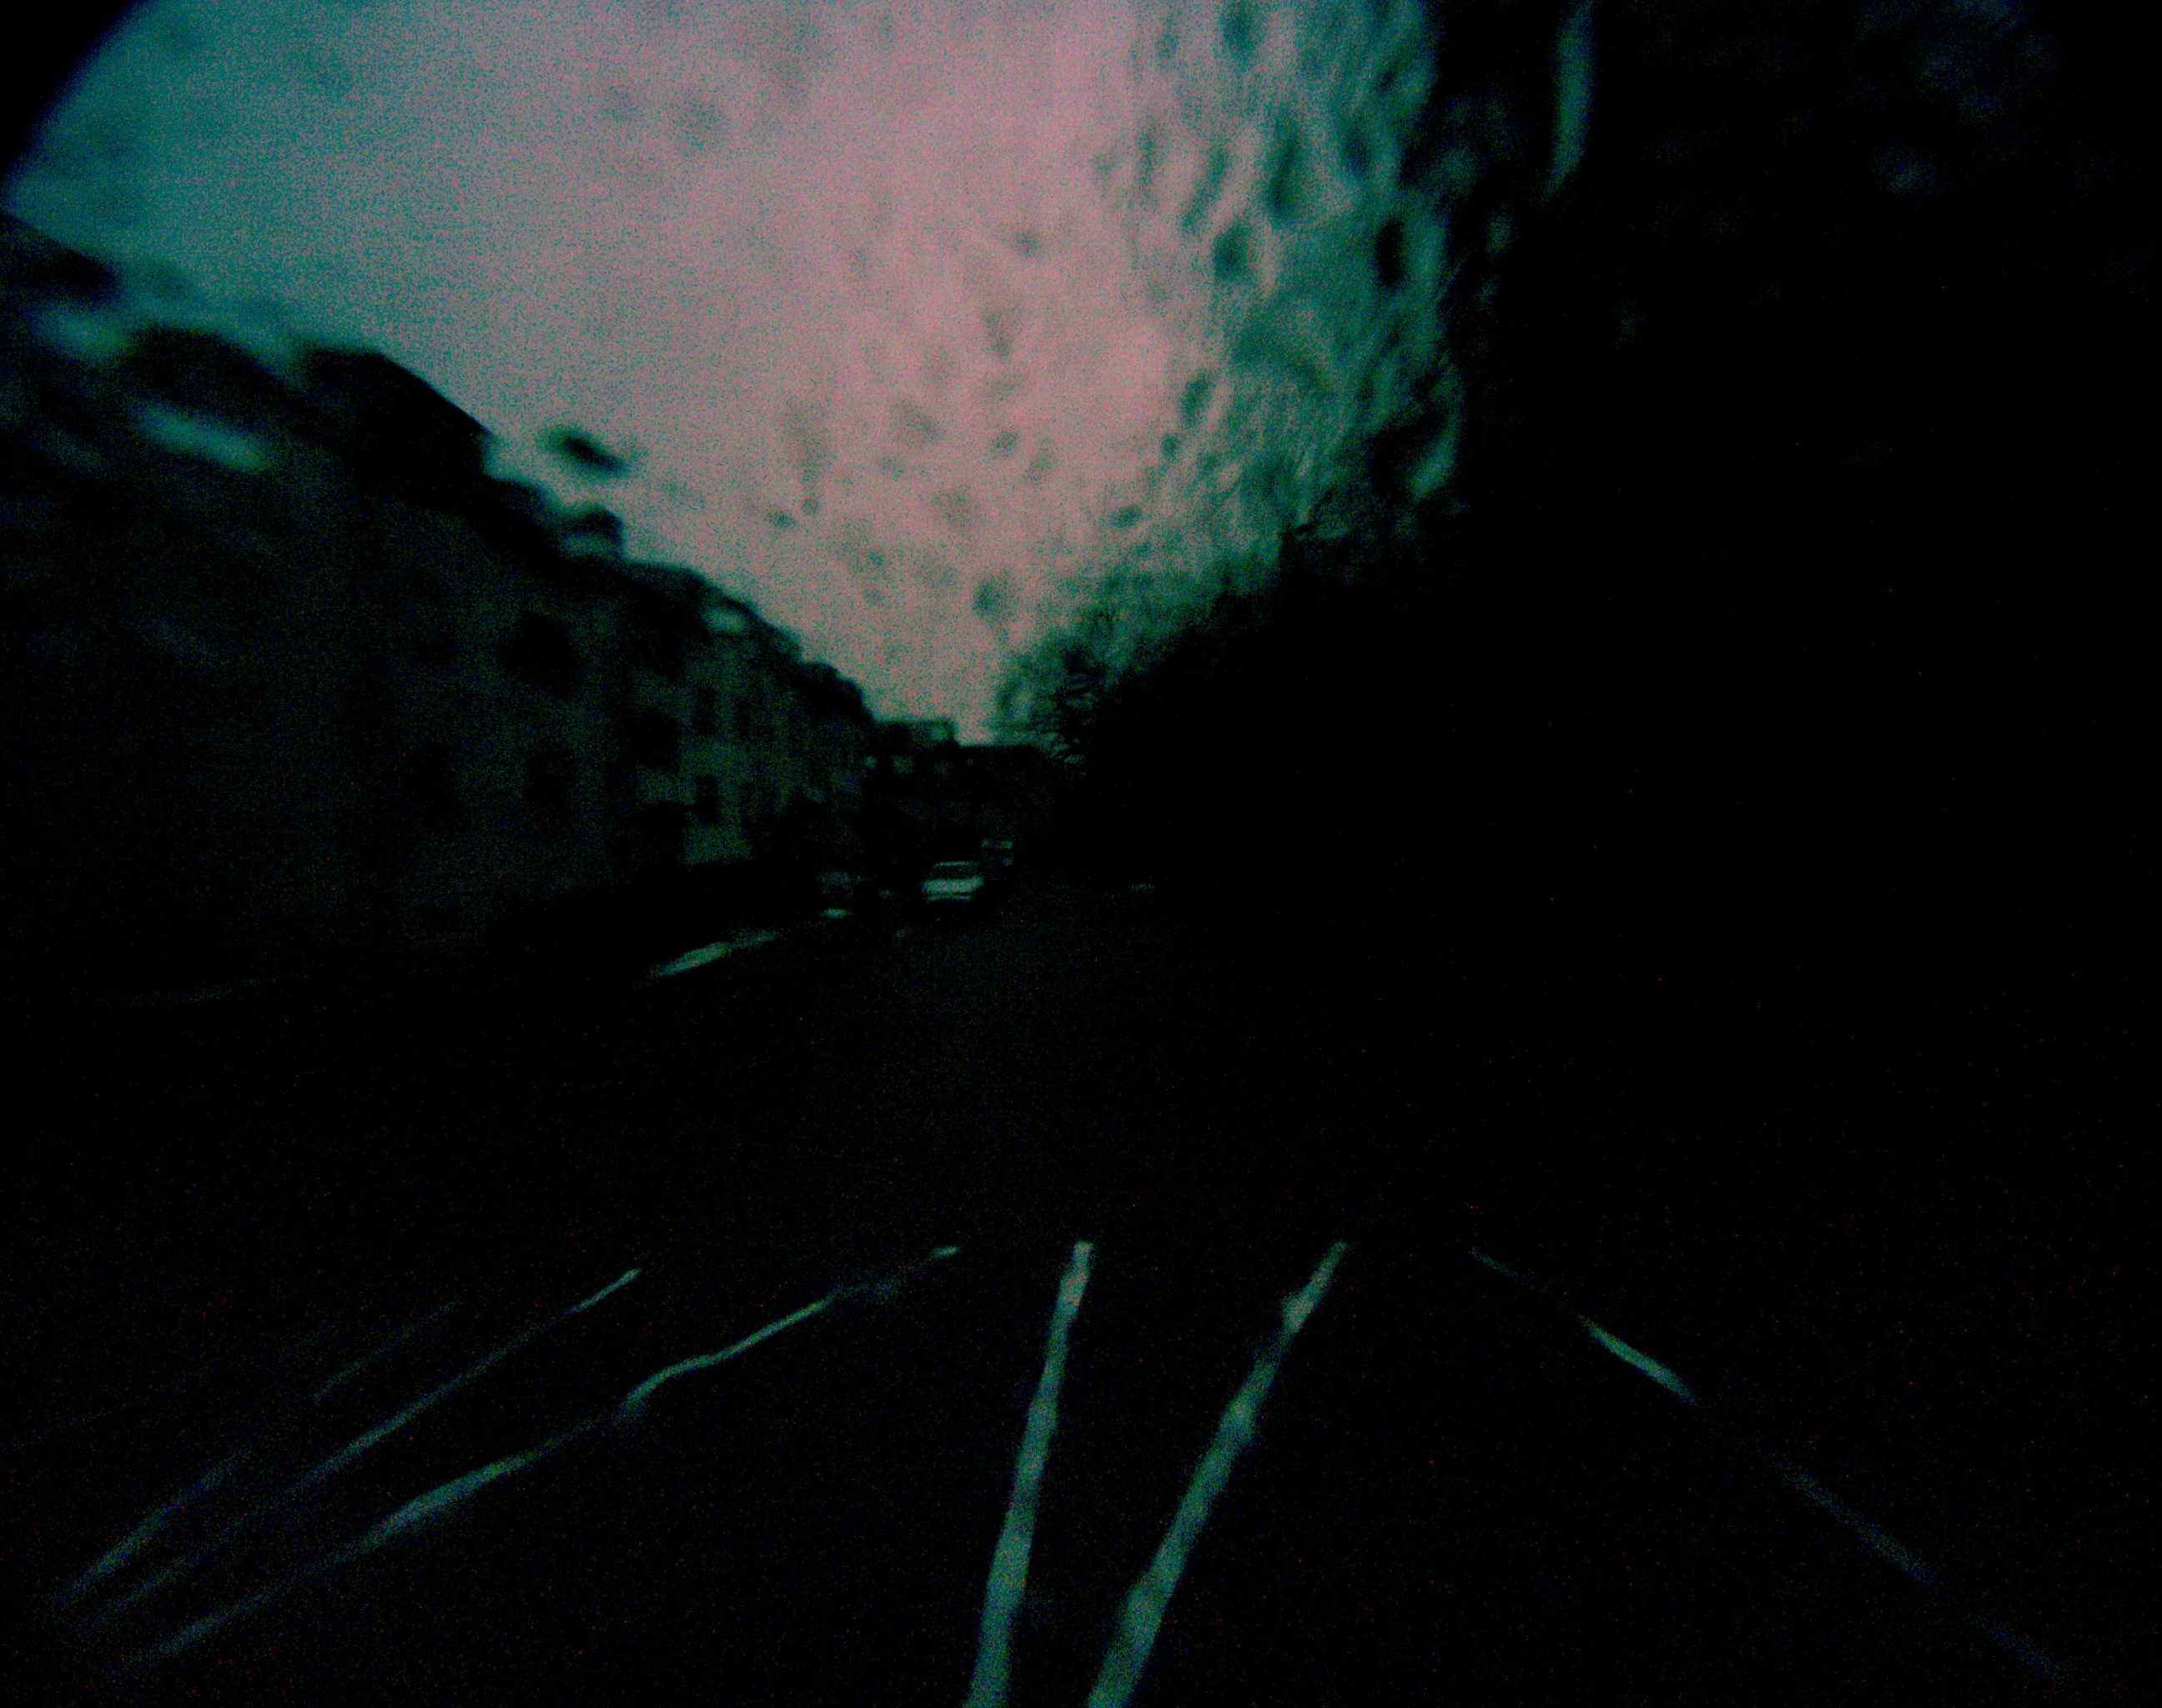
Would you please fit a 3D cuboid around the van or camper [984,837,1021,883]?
[{"bbox_3d":[-4.611,0.311,45.081,2.020,2.493,6.789,0,0,-5],"label":"van or camper"}]

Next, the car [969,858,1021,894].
[{"bbox_3d":[-3.616,0.905,32.622,1.659,1.382,4.532,0,1,1],"label":"car"}]

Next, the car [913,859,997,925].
[{"bbox_3d":[-3.234,0.912,20.266,1.743,1.421,4.454,-2,1,-4],"label":"car"}]

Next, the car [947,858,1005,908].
[{"bbox_3d":[-3.551,0.930,26.375,1.660,1.421,4.562,-2,1,-4],"label":"car"}]
